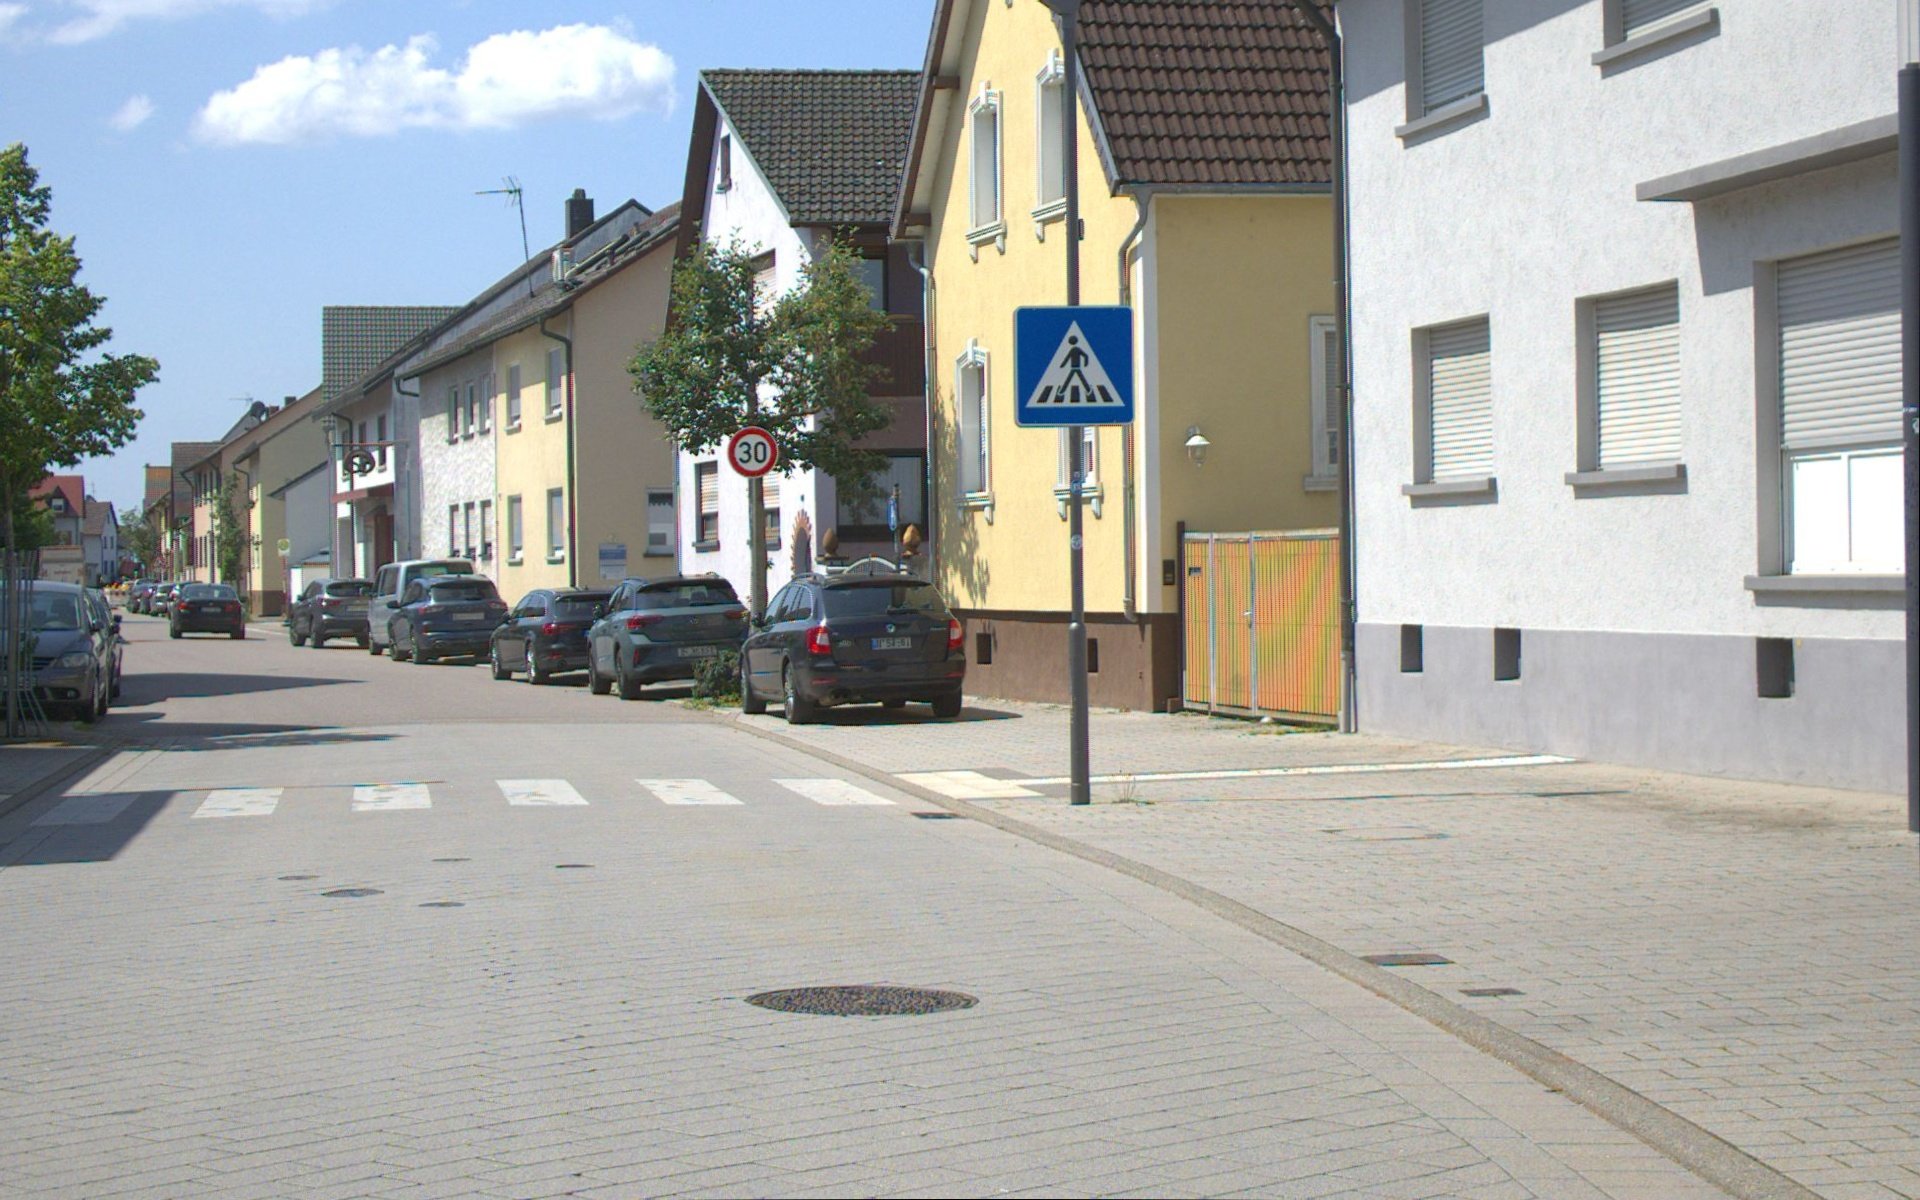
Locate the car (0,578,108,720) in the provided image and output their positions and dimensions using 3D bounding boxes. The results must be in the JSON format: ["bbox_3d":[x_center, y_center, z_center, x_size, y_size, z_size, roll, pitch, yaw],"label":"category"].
[{"bbox_3d":[-10.751,0.520,39.275,1.746,1.525,4.001,0,0,-11],"label":"car"}]

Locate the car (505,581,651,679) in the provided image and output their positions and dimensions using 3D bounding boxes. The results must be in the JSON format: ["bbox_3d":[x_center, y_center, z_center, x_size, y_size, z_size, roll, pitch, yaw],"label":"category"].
[{"bbox_3d":[-5.825,0.431,52.112,1.710,1.382,3.707,-1,1,-14],"label":"car"}]

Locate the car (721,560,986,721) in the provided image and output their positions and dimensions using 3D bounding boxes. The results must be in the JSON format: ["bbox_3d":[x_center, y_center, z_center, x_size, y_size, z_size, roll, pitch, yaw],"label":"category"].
[{"bbox_3d":[-1.172,0.388,35.526,1.828,1.466,4.277,-3,1,-14],"label":"car"}]

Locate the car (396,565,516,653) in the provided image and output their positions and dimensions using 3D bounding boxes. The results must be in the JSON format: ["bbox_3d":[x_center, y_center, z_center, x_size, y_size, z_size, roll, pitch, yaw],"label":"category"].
[{"bbox_3d":[-9.629,0.153,65.487,1.877,1.586,4.001,-1,1,-14],"label":"car"}]

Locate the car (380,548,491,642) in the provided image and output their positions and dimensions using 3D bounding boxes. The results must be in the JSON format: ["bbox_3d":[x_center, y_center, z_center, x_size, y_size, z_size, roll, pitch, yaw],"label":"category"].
[{"bbox_3d":[-10.860,-0.120,71.029,1.906,1.865,4.001,-1,1,-14],"label":"car"}]

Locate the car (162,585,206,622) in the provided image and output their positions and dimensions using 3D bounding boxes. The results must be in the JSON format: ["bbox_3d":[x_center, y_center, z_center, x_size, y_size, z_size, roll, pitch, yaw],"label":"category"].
[{"bbox_3d":[-32.442,0.139,143.656,1.687,1.447,3.794,-1,1,-14],"label":"car"}]

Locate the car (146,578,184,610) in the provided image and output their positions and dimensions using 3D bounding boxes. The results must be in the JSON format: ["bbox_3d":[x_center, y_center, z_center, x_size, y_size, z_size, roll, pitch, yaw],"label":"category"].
[{"bbox_3d":[-38.445,-0.297,166.146,1.687,1.447,3.794,-1,1,-14],"label":"car"}]

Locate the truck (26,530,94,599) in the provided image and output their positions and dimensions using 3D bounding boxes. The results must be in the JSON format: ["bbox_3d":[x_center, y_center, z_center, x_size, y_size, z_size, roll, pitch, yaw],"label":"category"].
[{"bbox_3d":[-53.575,-2.126,204.530,3.563,3.940,8.583,-1,1,-16],"label":"truck"}]

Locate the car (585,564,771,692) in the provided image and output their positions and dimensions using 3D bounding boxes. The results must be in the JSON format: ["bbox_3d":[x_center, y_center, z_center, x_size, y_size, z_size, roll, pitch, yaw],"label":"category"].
[{"bbox_3d":[-3.721,0.327,44.836,1.846,1.557,3.694,-1,1,-14],"label":"car"}]

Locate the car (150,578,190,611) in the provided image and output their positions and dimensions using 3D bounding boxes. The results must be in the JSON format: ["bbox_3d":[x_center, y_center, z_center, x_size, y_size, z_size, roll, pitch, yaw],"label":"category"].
[{"bbox_3d":[-36.052,-0.254,156.835,1.687,1.447,3.794,-1,1,-14],"label":"car"}]

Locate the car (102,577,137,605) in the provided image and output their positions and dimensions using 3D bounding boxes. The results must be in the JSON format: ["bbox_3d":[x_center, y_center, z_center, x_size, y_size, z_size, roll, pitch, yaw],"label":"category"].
[{"bbox_3d":[-46.215,-0.509,189.010,1.687,1.447,3.794,-1,1,-16],"label":"car"}]

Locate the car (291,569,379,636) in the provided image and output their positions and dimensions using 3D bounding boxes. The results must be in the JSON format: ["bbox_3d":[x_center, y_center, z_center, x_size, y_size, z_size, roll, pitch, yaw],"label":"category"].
[{"bbox_3d":[-14.500,0.033,79.590,1.753,1.488,4.001,-1,1,-14],"label":"car"}]

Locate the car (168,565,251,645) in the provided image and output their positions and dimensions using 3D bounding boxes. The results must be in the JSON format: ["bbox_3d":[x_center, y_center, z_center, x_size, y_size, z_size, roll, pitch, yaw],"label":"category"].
[{"bbox_3d":[-19.882,0.107,90.971,1.993,2.051,4.375,-1,1,-14],"label":"car"}]
